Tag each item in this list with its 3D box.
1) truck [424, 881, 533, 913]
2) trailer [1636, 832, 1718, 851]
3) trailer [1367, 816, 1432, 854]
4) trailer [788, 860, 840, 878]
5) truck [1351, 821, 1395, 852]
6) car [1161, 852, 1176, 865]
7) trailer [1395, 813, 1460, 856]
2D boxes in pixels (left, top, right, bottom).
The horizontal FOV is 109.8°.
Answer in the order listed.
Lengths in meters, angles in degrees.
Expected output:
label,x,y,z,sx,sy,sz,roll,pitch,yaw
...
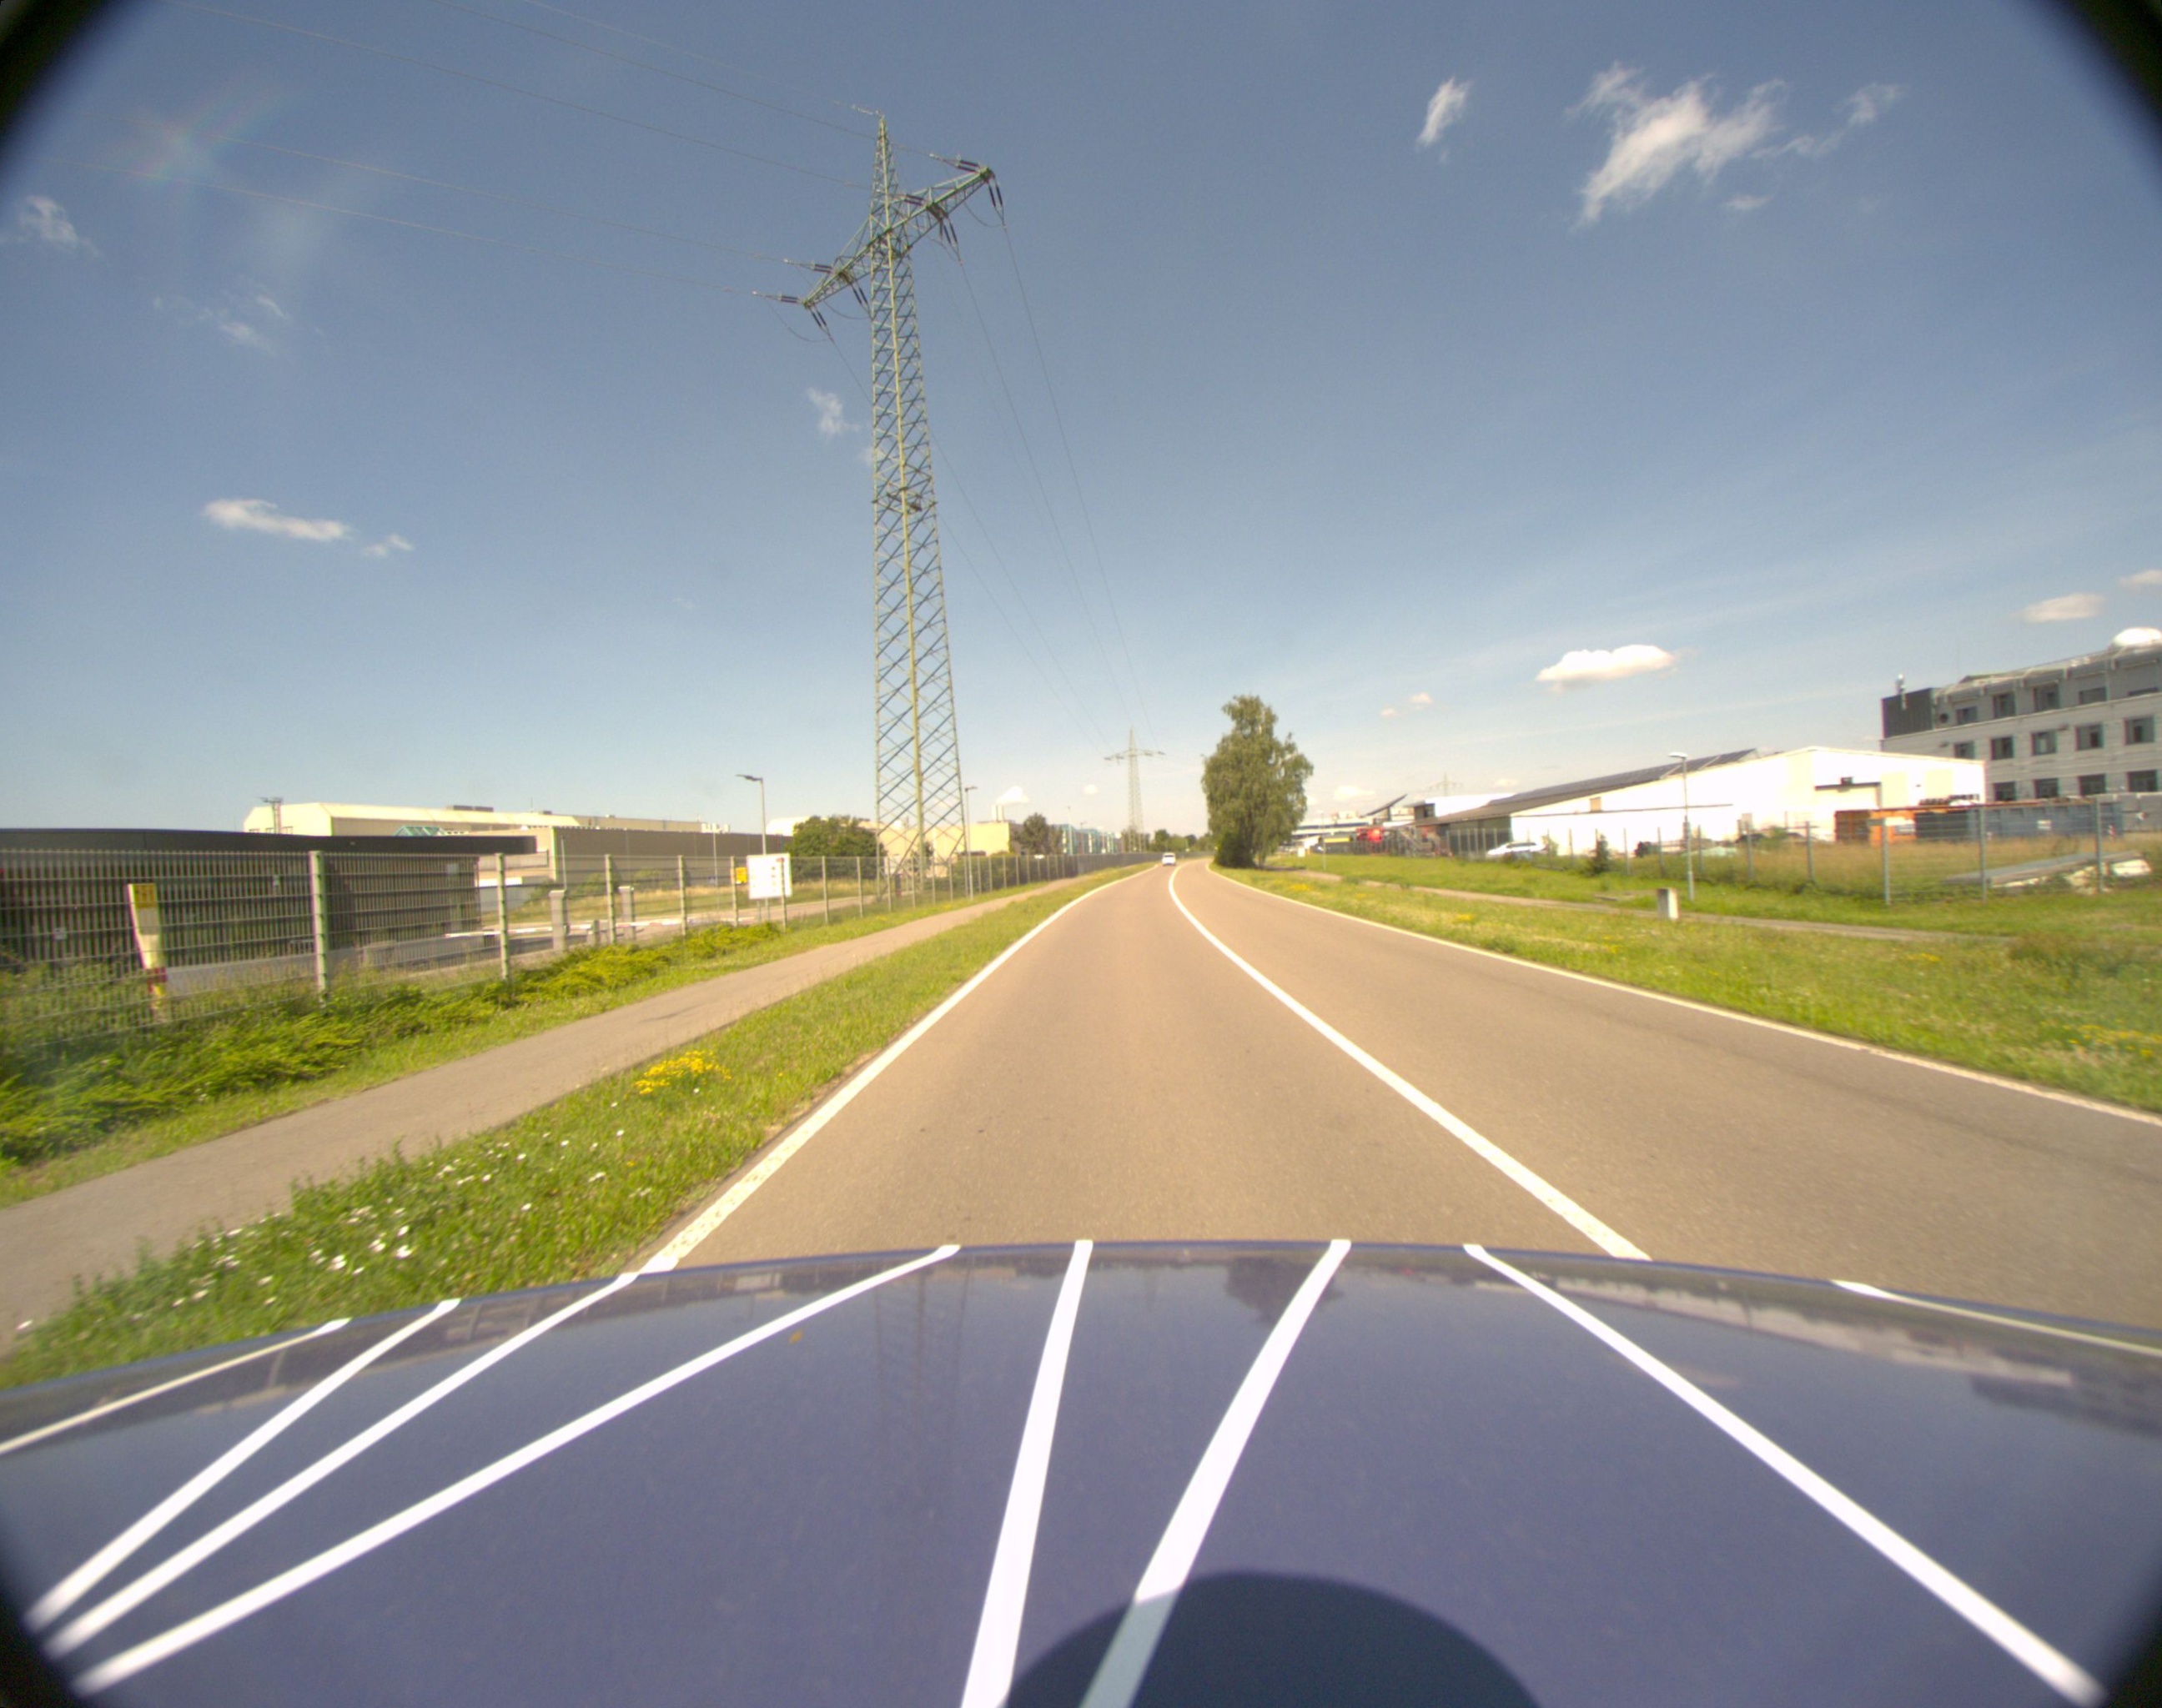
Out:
label,x,y,z,sx,sy,sz,roll,pitch,yaw
truck,-71.681,5.077,90.949,1.997,2.944,11.859,-4,0,9
trailer,40.775,-0.835,52.049,3.994,1.159,1.905,-2,0,10
trailer,34.303,-1.974,82.693,3.296,3.624,14.934,-2,1,10
trailer,-47.593,2.534,136.041,1.997,2.697,14.107,-2,1,11
truck,36.477,-2.183,95.256,3.107,3.624,10.600,-2,1,10
car,12.818,0.640,110.964,1.835,1.796,4.833,-1,0,9
trailer,32.266,-1.781,71.090,3.405,3.624,8.664,-2,1,10
